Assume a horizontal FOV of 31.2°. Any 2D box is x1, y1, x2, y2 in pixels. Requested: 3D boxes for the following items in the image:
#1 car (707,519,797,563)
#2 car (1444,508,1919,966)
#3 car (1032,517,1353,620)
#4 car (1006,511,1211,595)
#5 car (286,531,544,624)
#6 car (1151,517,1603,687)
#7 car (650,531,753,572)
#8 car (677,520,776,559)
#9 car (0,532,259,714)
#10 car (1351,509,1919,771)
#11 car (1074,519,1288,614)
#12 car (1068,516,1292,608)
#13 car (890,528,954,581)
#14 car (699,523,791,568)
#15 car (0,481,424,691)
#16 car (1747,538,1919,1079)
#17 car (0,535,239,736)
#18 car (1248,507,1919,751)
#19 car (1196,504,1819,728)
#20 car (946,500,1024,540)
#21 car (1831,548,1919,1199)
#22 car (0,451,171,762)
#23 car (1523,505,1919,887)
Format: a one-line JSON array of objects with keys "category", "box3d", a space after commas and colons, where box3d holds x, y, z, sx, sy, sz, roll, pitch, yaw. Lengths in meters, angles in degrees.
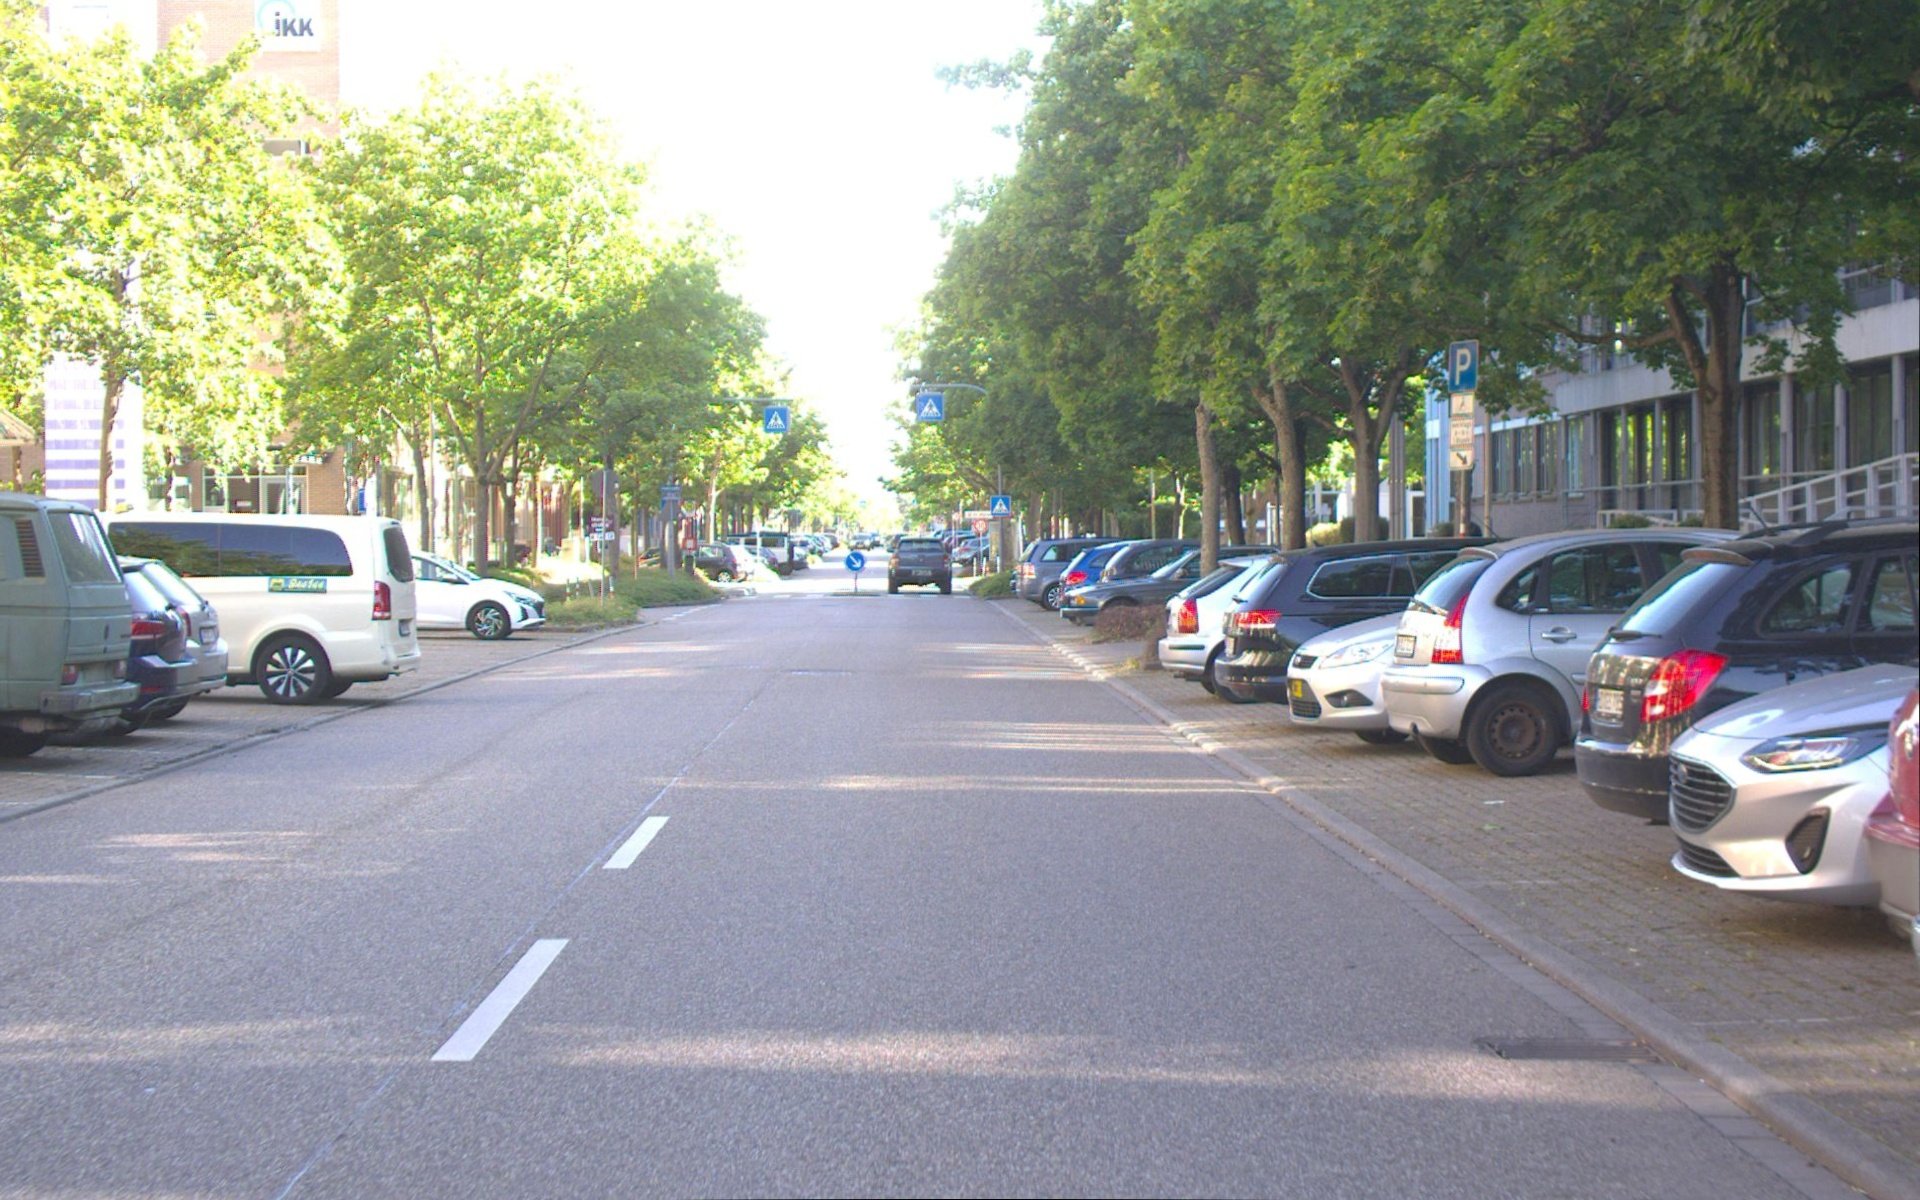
[{"category": "car", "box3d": [-9.772, -2.792, 161.834, 3.987, 2.007, 2.000, -1, 1, 3]}, {"category": "car", "box3d": [4.185, 0.407, 12.816, 4.515, 1.537, 1.922, -2, 1, 3]}, {"category": "car", "box3d": [3.635, -0.507, 54.405, 4.824, 1.415, 2.032, -2, 1, -2]}, {"category": "car", "box3d": [3.309, -1.057, 77.049, 4.350, 1.698, 1.813, -2, 1, -3]}, {"category": "car", "box3d": [-8.943, -0.381, 56.652, 3.986, 1.481, 1.807, 0, 1, -2]}, {"category": "car", "box3d": [3.887, 0.004, 32.466, 3.969, 1.415, 1.711, -2, 1, -2]}, {"category": "car", "box3d": [-9.889, -1.851, 131.532, 3.848, 1.468, 1.813, 1, 1, -5]}, {"category": "car", "box3d": [-9.353, -2.423, 137.374, 3.847, 1.468, 1.813, 1, 1, -7]}, {"category": "car", "box3d": [-8.441, 0.152, 29.716, 4.321, 1.472, 1.943, 1, 1, 2]}, {"category": "car", "box3d": [4.538, 0.223, 22.084, 3.742, 1.488, 1.617, -2, 1, -4]}, {"category": "car", "box3d": [3.846, -0.594, 60.344, 3.641, 1.509, 1.813, -2, 1, 2]}, {"category": "car", "box3d": [3.986, -0.708, 62.866, 3.949, 1.509, 1.813, -2, 1, 1]}, {"category": "car", "box3d": [-1.227, -1.476, 110.856, 1.993, 1.634, 4.000, 1, 1, -1]}, {"category": "car", "box3d": [-9.919, -2.528, 158.679, 3.987, 2.007, 2.000, -1, 1, 3]}, {"category": "car", "box3d": [-8.133, -0.172, 34.254, 5.257, 1.960, 1.943, 1, 1, -1]}, {"category": "car", "box3d": [4.457, 0.489, 10.162, 3.838, 1.442, 1.922, -2, 1, 3]}, {"category": "car", "box3d": [-8.048, 0.226, 26.997, 4.321, 1.472, 1.943, 1, 1, 2]}, {"category": "car", "box3d": [4.361, 0.175, 24.333, 4.284, 1.488, 2.004, -2, 1, -6]}, {"category": "car", "box3d": [4.277, 0.108, 27.322, 4.591, 1.488, 1.763, -3, 1, -1]}, {"category": "car", "box3d": [1.309, -4.206, 180.647, 3.986, 2.007, 2.000, -1, 1, -2]}, {"category": "car", "box3d": [4.368, 0.548, 7.234, 4.578, 1.470, 1.747, -2, 1, 0]}, {"category": "car", "box3d": [-8.091, -0.018, 24.304, 4.488, 2.082, 2.083, 1, 1, 2]}, {"category": "car", "box3d": [4.913, 0.327, 15.214, 4.515, 1.537, 1.922, -2, 1, 2]}]
